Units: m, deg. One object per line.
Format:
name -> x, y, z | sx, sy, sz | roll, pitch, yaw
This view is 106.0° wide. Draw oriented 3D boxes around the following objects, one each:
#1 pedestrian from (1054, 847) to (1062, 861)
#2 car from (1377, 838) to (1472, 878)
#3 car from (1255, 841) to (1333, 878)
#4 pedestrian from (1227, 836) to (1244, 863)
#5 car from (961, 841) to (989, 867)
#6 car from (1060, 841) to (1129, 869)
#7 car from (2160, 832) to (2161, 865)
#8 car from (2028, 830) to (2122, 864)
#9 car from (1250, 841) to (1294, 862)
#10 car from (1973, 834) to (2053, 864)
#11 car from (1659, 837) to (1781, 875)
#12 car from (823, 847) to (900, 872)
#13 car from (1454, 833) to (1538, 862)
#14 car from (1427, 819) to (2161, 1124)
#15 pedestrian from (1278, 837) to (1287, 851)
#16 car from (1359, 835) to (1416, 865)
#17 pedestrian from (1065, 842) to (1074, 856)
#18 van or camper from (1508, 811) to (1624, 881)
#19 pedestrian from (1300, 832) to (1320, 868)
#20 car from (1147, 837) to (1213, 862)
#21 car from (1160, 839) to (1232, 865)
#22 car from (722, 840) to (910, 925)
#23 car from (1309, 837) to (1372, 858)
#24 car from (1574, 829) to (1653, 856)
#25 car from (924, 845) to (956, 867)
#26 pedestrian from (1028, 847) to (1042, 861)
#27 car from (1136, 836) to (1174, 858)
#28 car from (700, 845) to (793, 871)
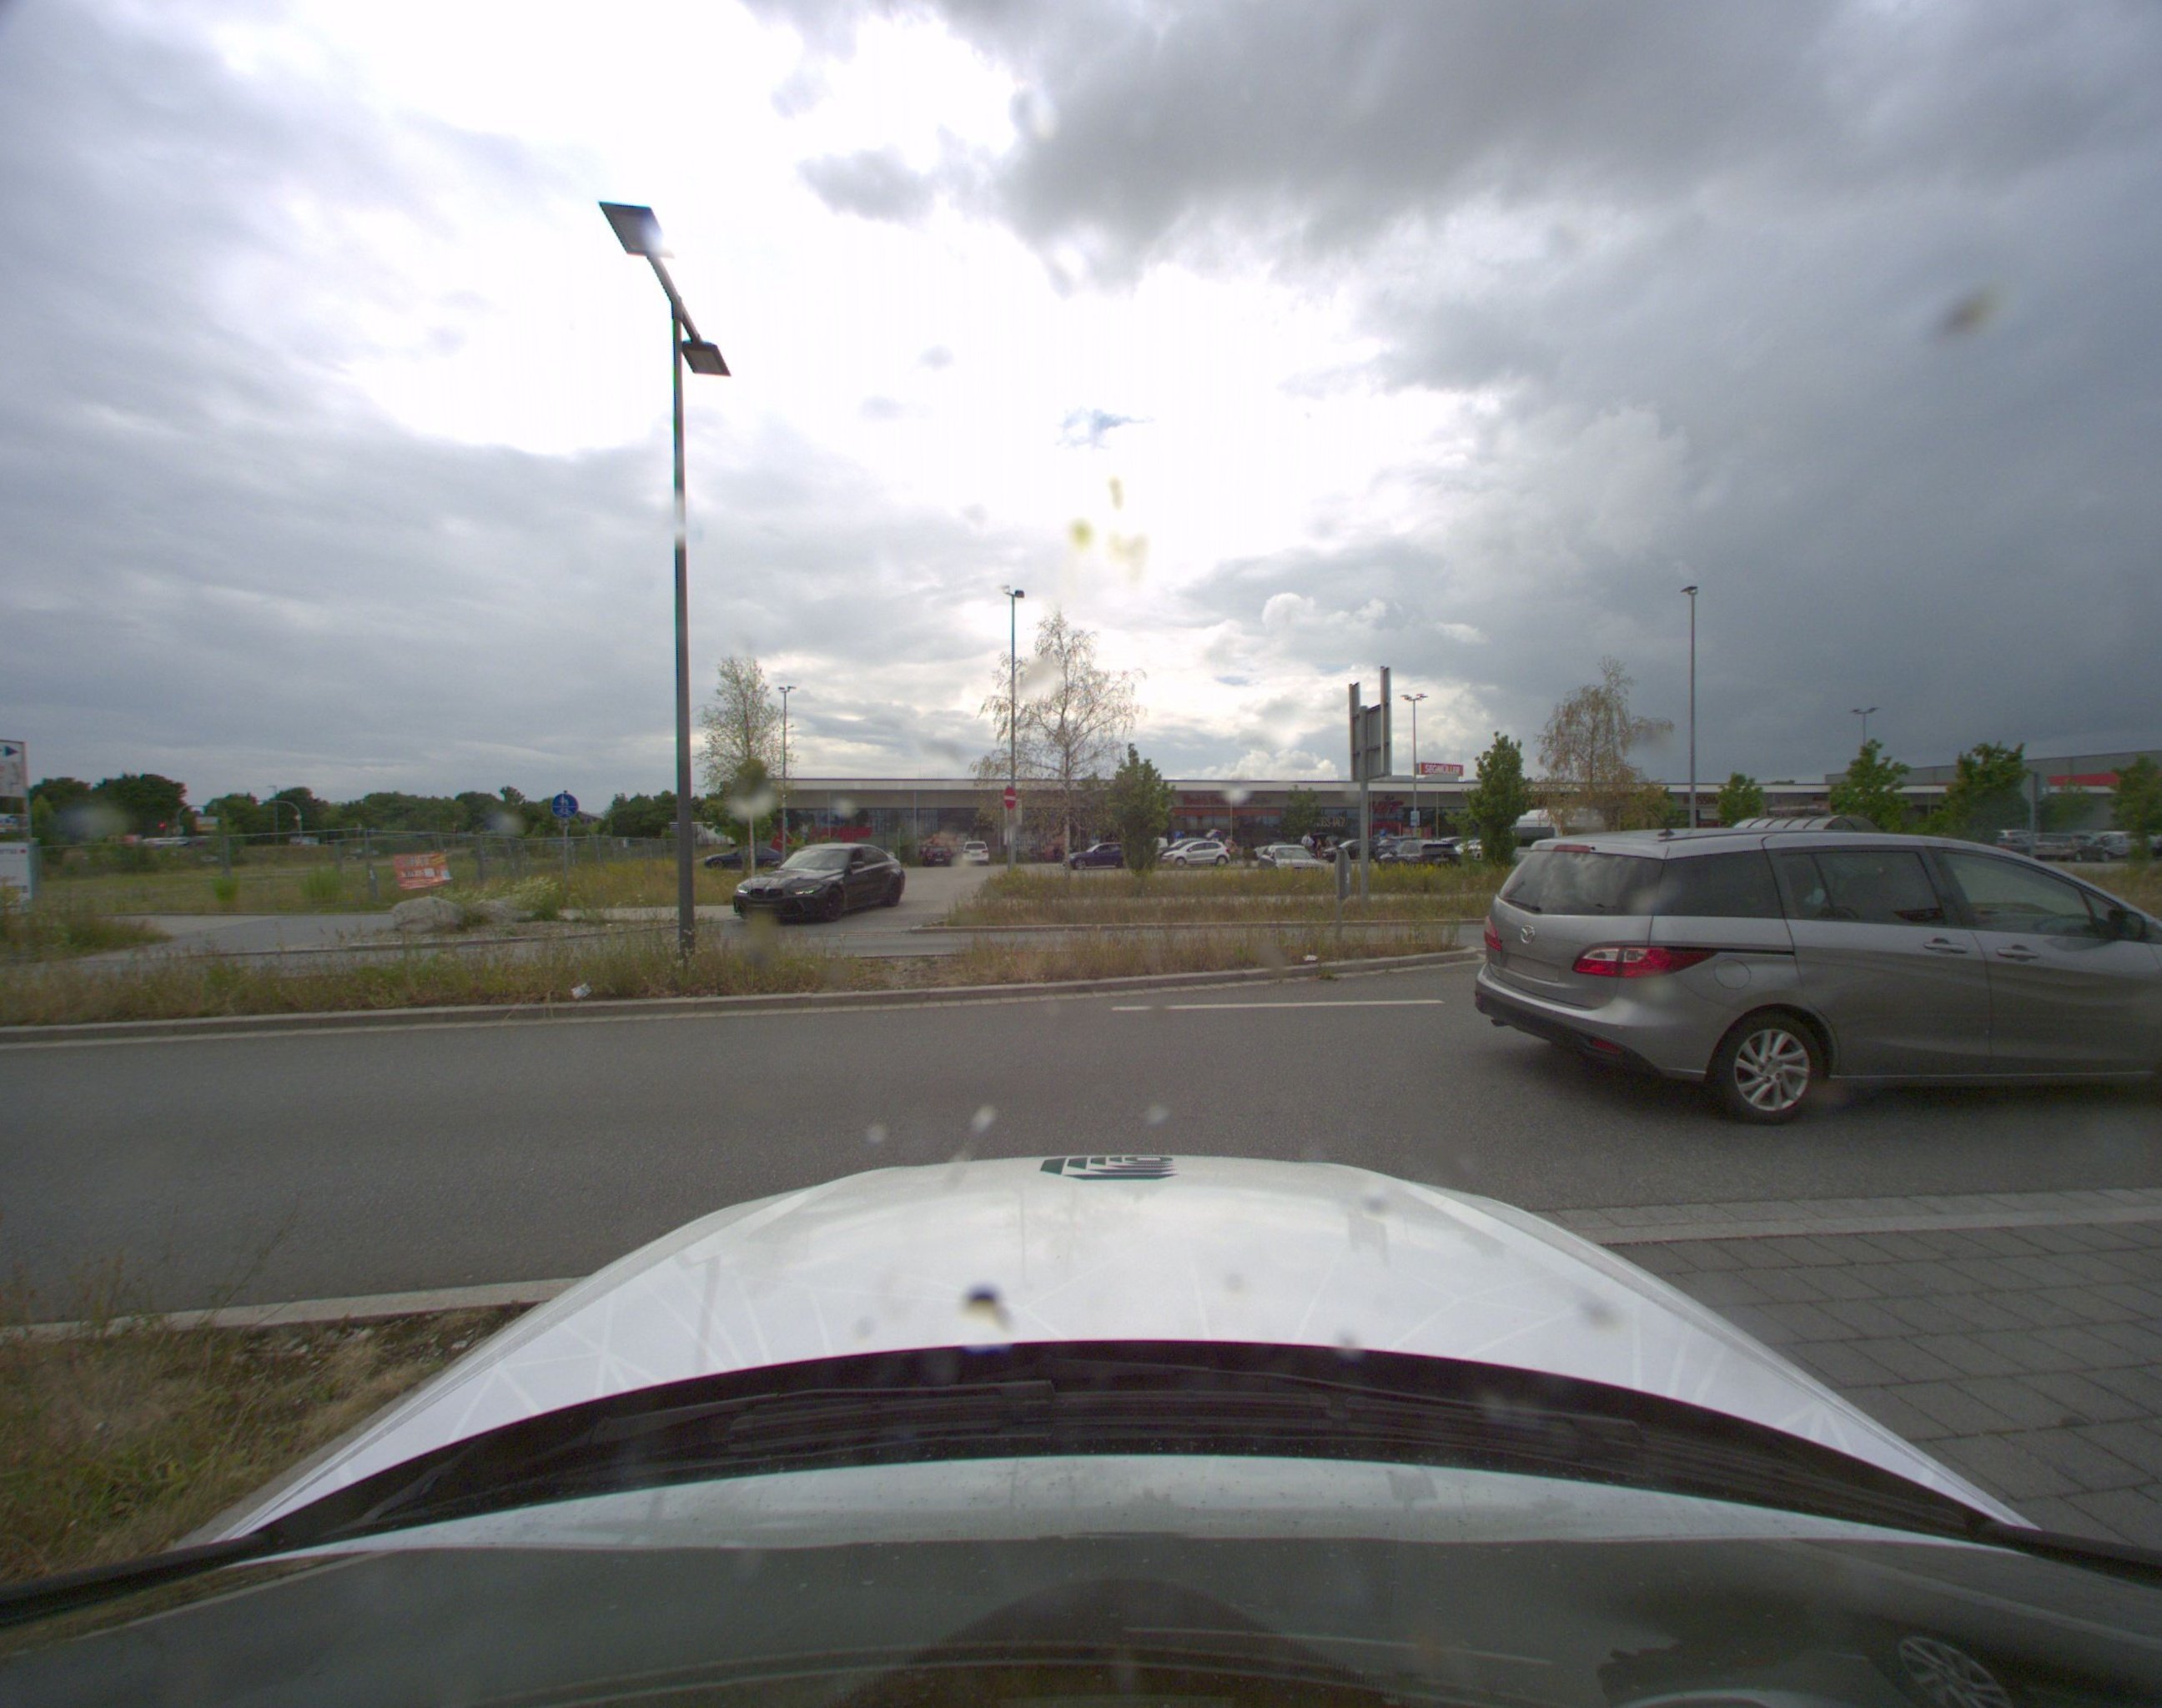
pedestrian -> -1.894, -0.006, 67.244 | 0.576, 1.124, 0.559 | -1, 1, -12
car -> 13.423, 0.139, 32.086 | 1.983, 1.451, 4.148 | 0, 0, -1
car -> 8.339, 0.189, 32.322 | 1.983, 1.384, 4.148 | 0, 0, -1
pedestrian -> 9.409, -0.277, 49.707 | 0.820, 1.631, 0.898 | 0, 0, -4
car -> -7.459, -0.051, 57.574 | 1.822, 1.699, 4.225 | -1, 2, -6
car -> 0.753, 0.038, 45.468 | 3.607, 1.454, 1.662 | -1, 1, -10
car -> 55.735, -0.300, 40.239 | 3.834, 1.653, 1.753 | -1, 1, -18
car -> 55.179, -0.402, 45.231 | 3.997, 1.733, 1.989 | -1, 1, -17
car -> 14.378, -0.200, 61.472 | 1.991, 1.508, 3.991 | -1, 1, -7
car -> 54.766, -0.333, 47.856 | 3.834, 1.653, 1.753 | -1, 1, -18
car -> 25.102, 0.067, 32.187 | 1.796, 1.384, 4.155 | 0, 0, 4
car -> -12.214, 0.303, 45.593 | 3.989, 1.352, 1.992 | 0, 0, -12
car -> 24.326, -0.395, 47.818 | 3.974, 1.618, 2.000 | -1, 1, -1
car -> 4.818, 0.576, 5.327 | 4.377, 1.562, 1.819 | -1, 2, -4
pedestrian -> 17.034, -0.831, 68.981 | 0.560, 1.201, 0.526 | -1, 1, -9
car -> 17.703, -0.246, 47.244 | 1.808, 1.653, 4.000 | -1, 1, 0
pedestrian -> -0.941, -0.421, 66.599 | 0.576, 1.124, 0.559 | -1, 1, -12
van or camper -> 18.323, -0.288, 31.005 | 2.272, 2.492, 4.005 | 0, 0, 5
pedestrian -> 12.791, -0.221, 45.449 | 0.992, 2.013, 0.872 | 0, 1, 20
car -> 6.028, -0.265, 49.699 | 3.745, 1.454, 1.663 | -1, 1, -9
car -> 6.573, -0.121, 46.736 | 3.745, 1.454, 1.663 | -1, 1, -9
car -> -5.249, 0.468, 16.879 | 1.769, 1.445, 4.622 | 0, 2, 9
car -> 19.094, -0.510, 59.958 | 3.984, 1.508, 1.995 | -1, 1, -8
car -> 36.268, -0.795, 55.462 | 4.416, 1.819, 1.992 | 0, 0, -12
car -> -9.814, 0.103, 57.025 | 1.904, 1.443, 3.992 | -1, 1, -6
pedestrian -> -3.814, 0.007, 67.534 | 0.971, 1.154, 1.129 | -1, 1, -10
car -> 5.415, -0.521, 59.984 | 1.991, 1.508, 3.991 | -1, 1, -7
car -> -20.424, 0.236, 49.947 | 5.013, 1.557, 1.991 | 0, 0, -13
